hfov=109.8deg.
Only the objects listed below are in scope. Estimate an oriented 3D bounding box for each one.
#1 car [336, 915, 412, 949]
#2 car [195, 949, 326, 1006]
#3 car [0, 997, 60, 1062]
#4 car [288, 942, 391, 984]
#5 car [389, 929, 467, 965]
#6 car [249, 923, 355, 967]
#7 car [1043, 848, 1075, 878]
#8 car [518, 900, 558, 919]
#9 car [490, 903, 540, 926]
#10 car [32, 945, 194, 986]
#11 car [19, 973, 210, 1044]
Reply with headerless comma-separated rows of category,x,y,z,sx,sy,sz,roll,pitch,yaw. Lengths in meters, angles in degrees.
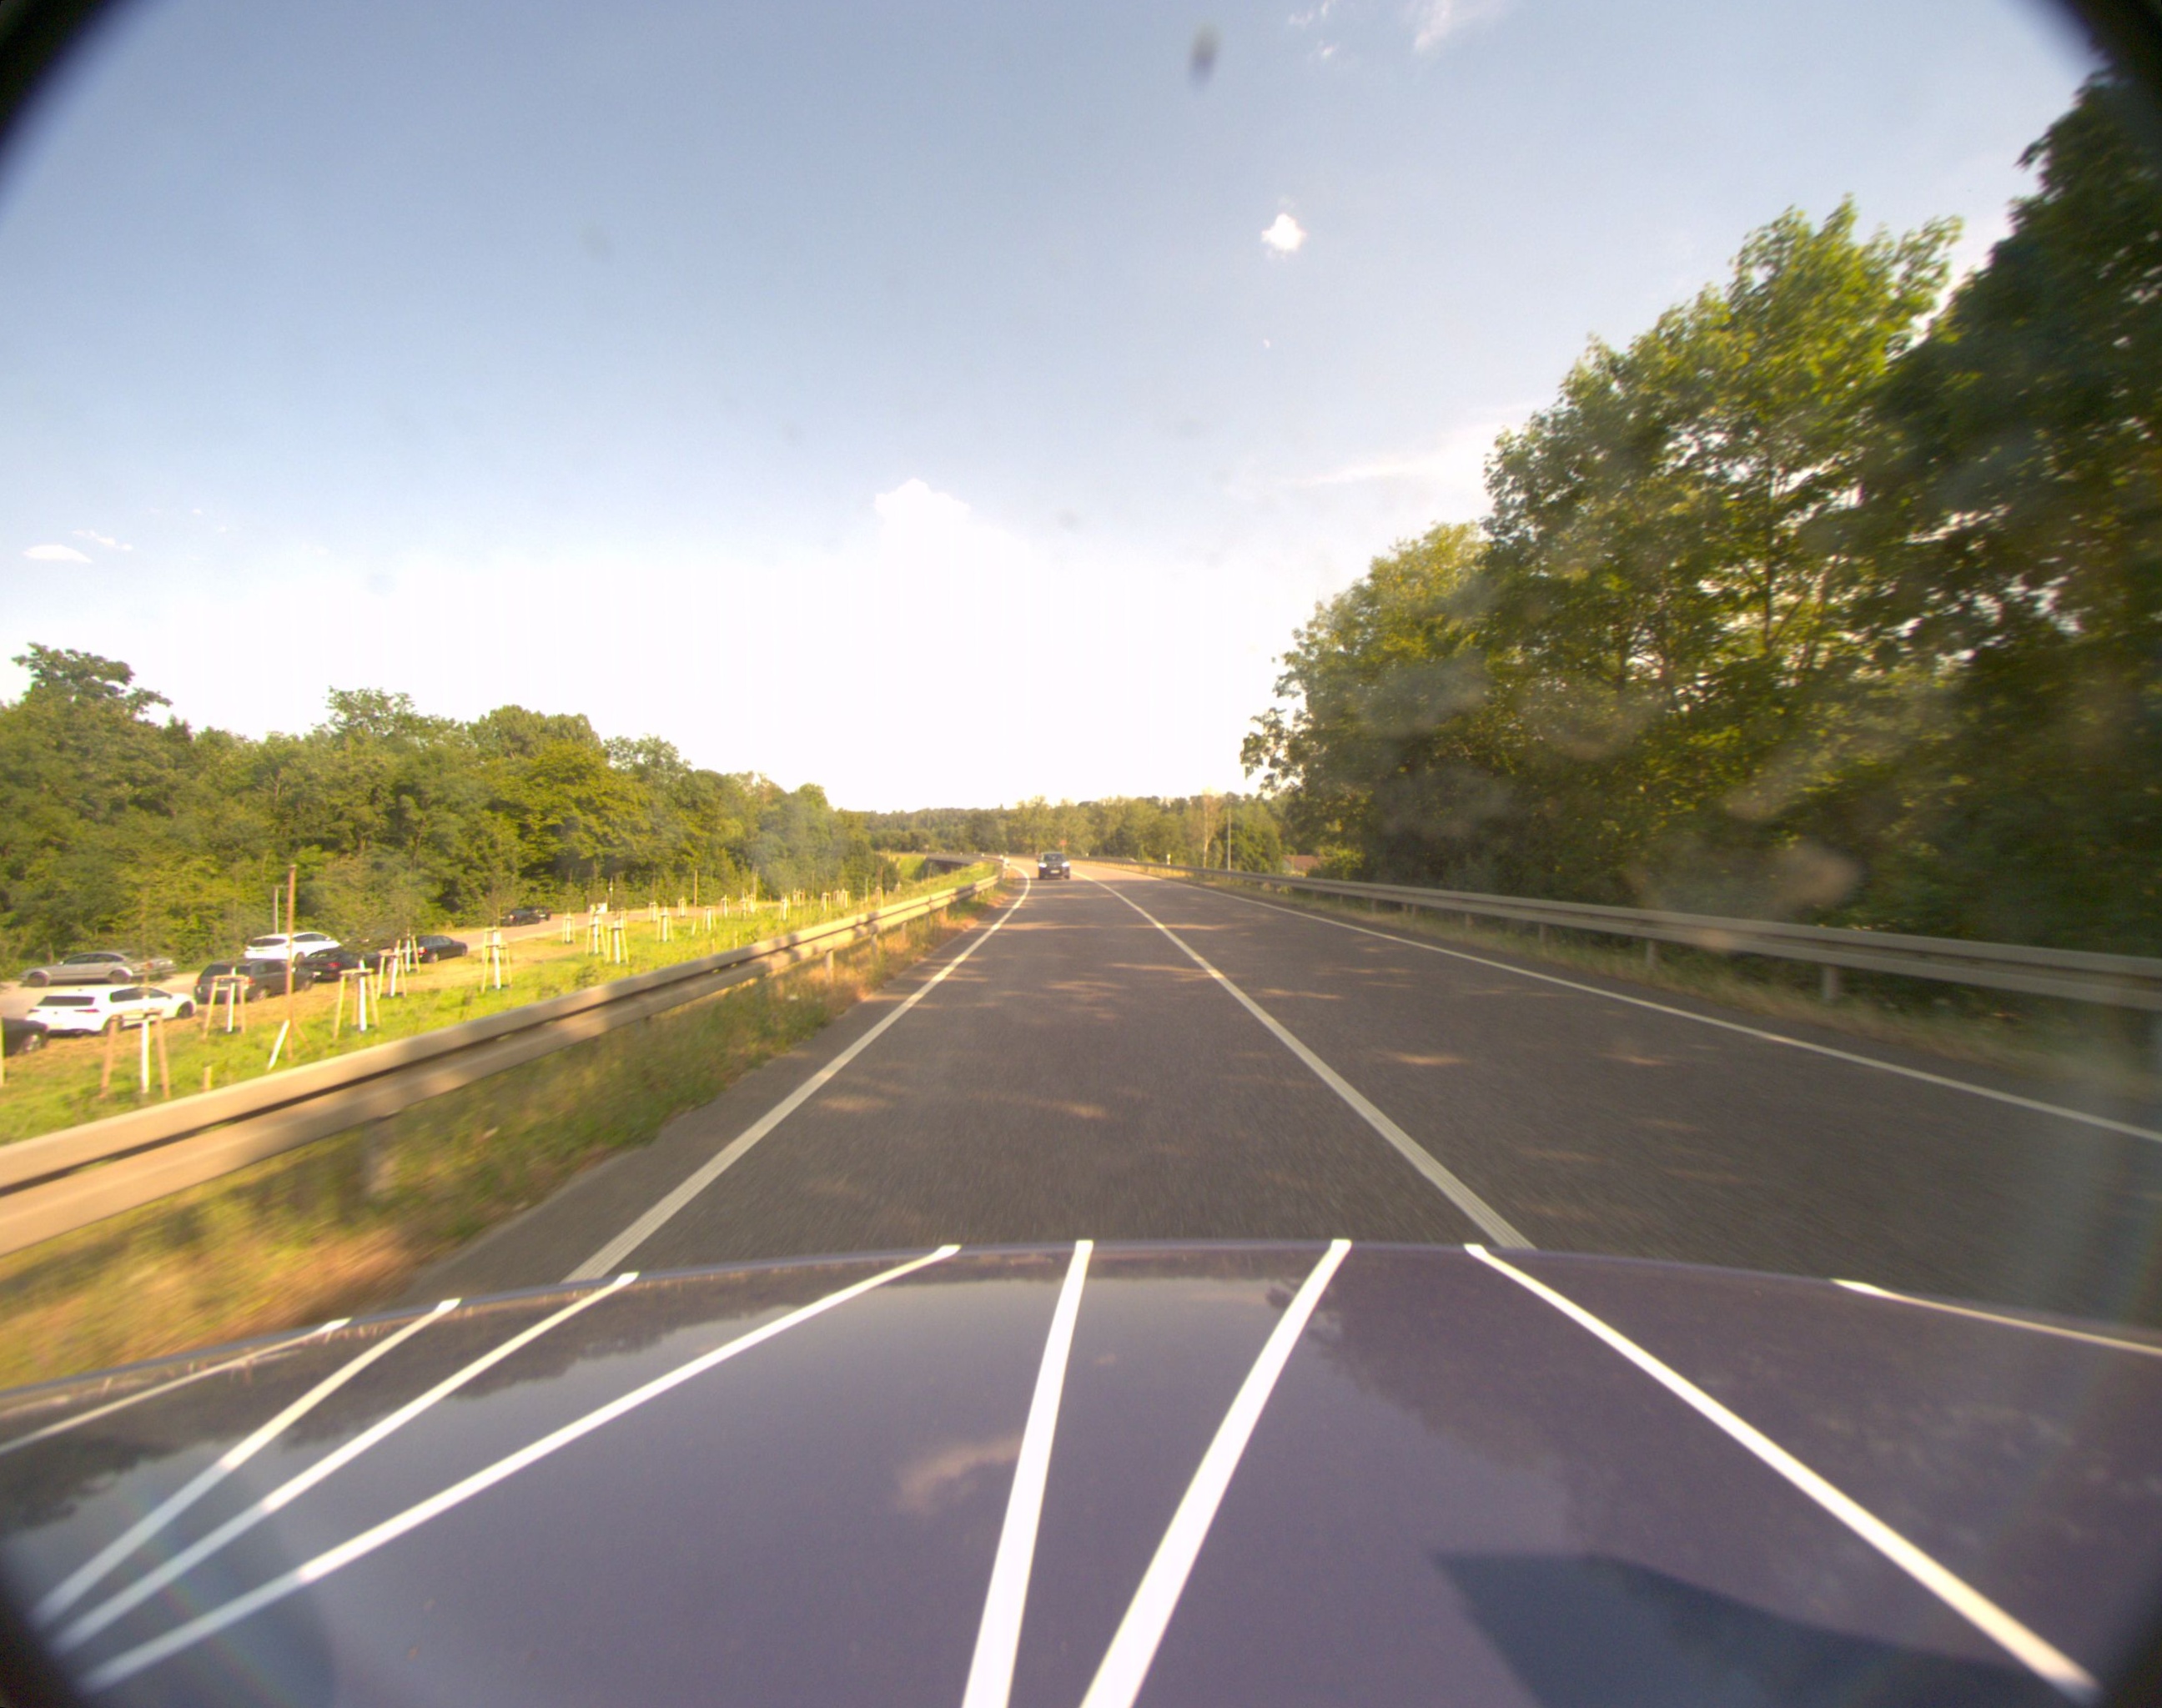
car,-42.225,4.637,45.486,1.661,1.488,4.216,-1,1,-18
car,-32.930,4.886,30.675,1.825,1.648,4.250,1,-1,-20
car,-29.524,4.804,19.493,1.825,1.473,4.388,1,-1,-20
car,-34.360,5.023,35.369,1.825,1.393,4.250,1,-1,-20
car,-35.935,5.072,41.935,1.661,1.487,4.217,-1,-1,-16
car,-40.809,4.705,39.968,1.661,1.657,4.701,-1,1,-15
car,-1.380,0.510,46.216,1.751,1.645,4.304,-1,2,-3
car,-48.884,4.981,68.350,3.674,1.488,1.663,0,1,33
car,-46.556,4.937,62.617,1.660,1.488,3.825,-1,1,-9
car,-42.457,4.854,33.429,4.250,1.447,1.615,0,-1,-16
car,-31.018,4.899,24.615,1.825,1.473,4.250,1,-1,-20
